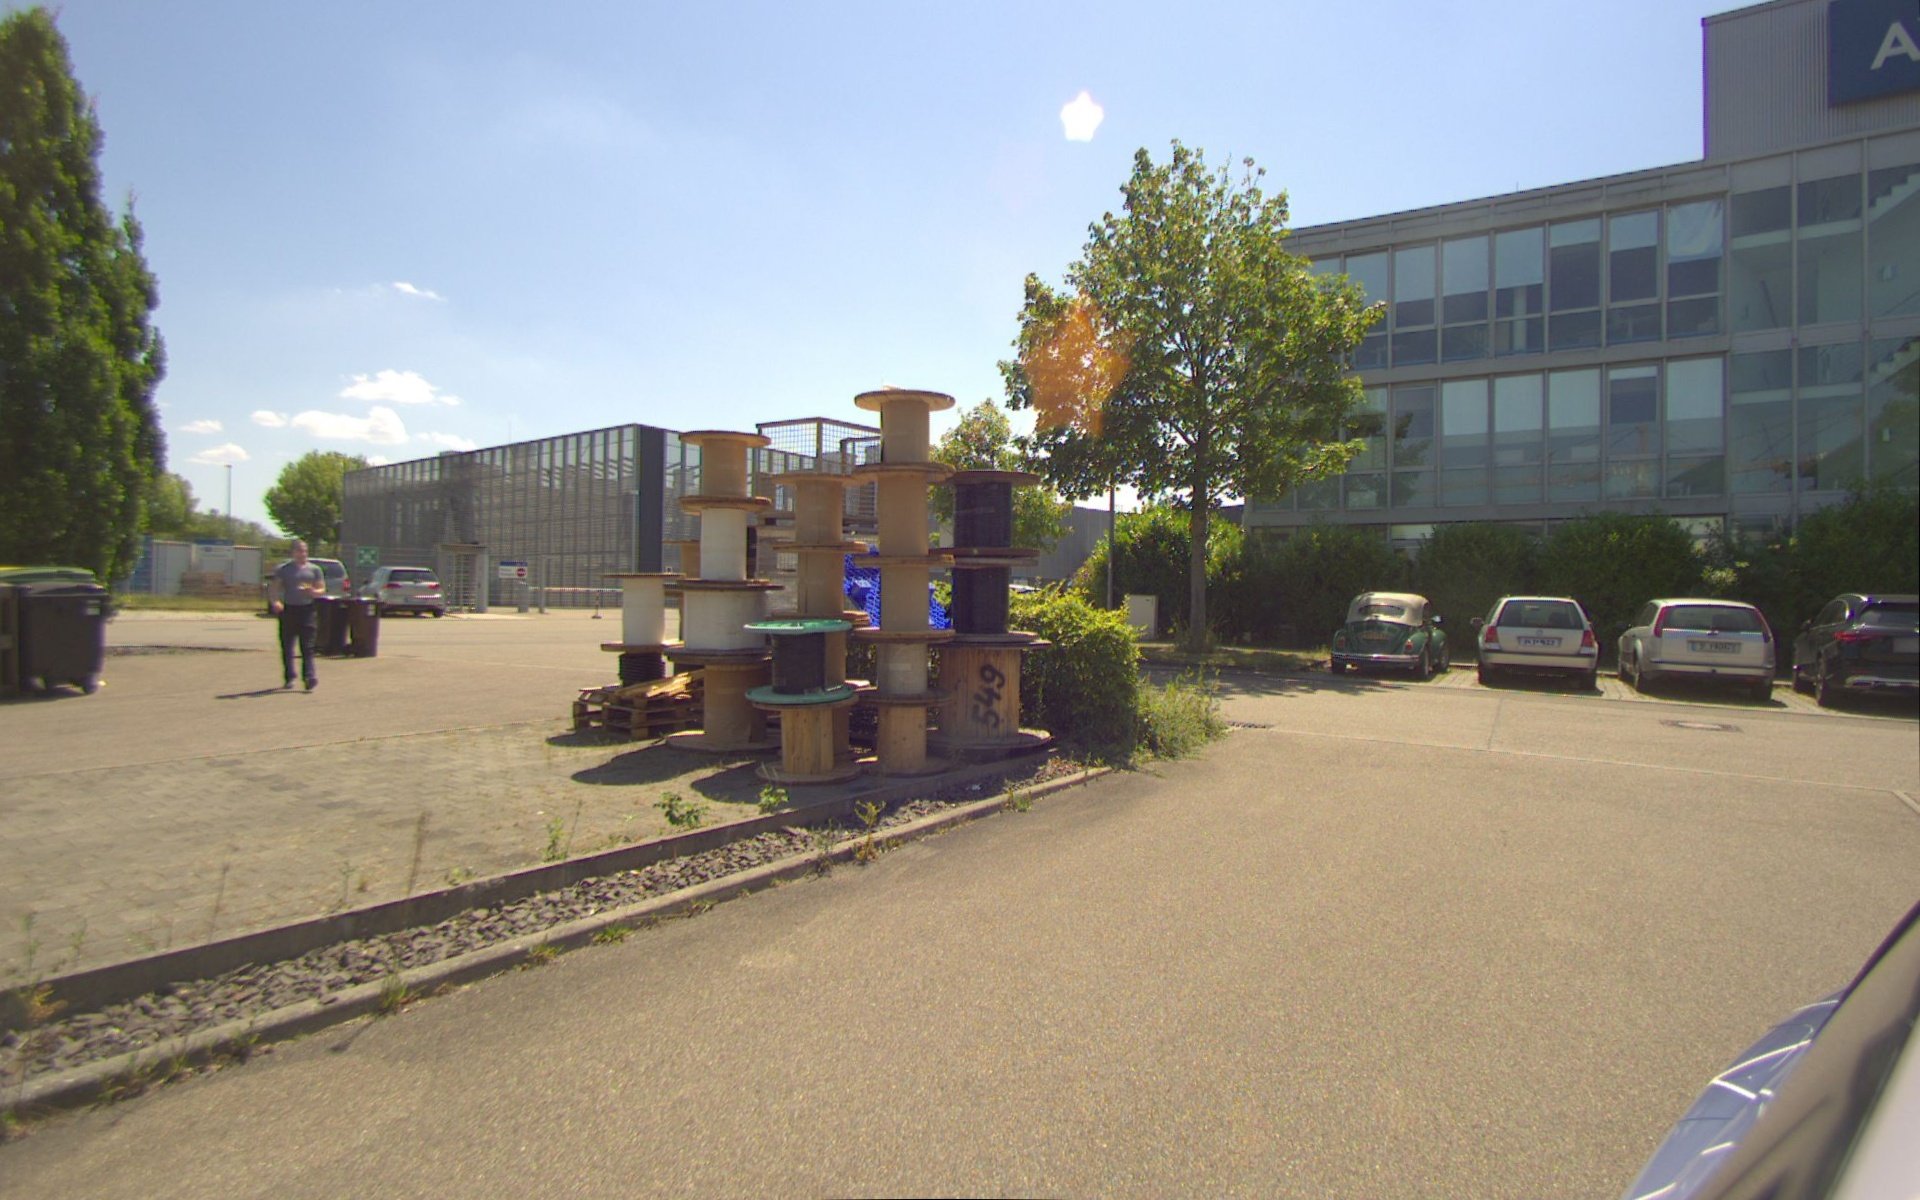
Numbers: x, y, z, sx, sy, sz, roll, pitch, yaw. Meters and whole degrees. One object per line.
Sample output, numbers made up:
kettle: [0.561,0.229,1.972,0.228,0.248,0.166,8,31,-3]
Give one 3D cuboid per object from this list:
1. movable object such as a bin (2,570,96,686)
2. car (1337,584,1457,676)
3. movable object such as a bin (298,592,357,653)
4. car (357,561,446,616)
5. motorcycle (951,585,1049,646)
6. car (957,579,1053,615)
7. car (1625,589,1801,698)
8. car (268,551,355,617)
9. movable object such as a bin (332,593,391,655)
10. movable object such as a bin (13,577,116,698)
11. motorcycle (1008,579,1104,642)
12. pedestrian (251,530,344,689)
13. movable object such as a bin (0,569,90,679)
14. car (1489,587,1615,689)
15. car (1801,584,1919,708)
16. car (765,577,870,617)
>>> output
movable object such as a bin: [-10.870,0.304,12.080,0.754,1.314,0.789,2,2,44]
car: [8.002,0.463,18.388,1.511,1.463,3.381,2,2,32]
movable object such as a bin: [-10.021,0.351,16.041,0.576,0.929,0.546,1,1,11]
car: [-16.667,-0.381,30.123,1.816,1.515,4.000,1,1,-36]
motorcycle: [0.944,0.301,22.614,0.868,1.275,2.802,2,2,33]
car: [1.934,-0.177,44.751,1.748,1.494,4.412,0,1,-38]
car: [12.056,0.601,16.439,1.717,1.470,3.565,2,2,28]
car: [-18.460,-0.467,28.731,1.816,1.727,3.999,0,1,-36]
movable object such as a bin: [-9.396,0.366,15.898,0.576,0.929,0.546,1,1,11]
movable object such as a bin: [-9.927,0.380,11.218,0.874,1.265,0.789,2,2,44]
motorcycle: [2.136,0.187,22.010,0.868,1.275,2.802,2,2,33]
pedestrian: [-7.772,0.097,11.906,0.792,1.790,0.770,0,1,-24]
movable object such as a bin: [-11.476,0.272,12.690,0.807,1.314,0.789,2,2,44]
car: [9.947,0.552,17.203,1.628,1.470,3.565,2,2,28]
car: [13.925,0.596,14.896,1.927,1.622,3.813,2,2,34]
car: [-5.473,-0.130,38.460,1.827,1.427,4.439,0,1,-41]
